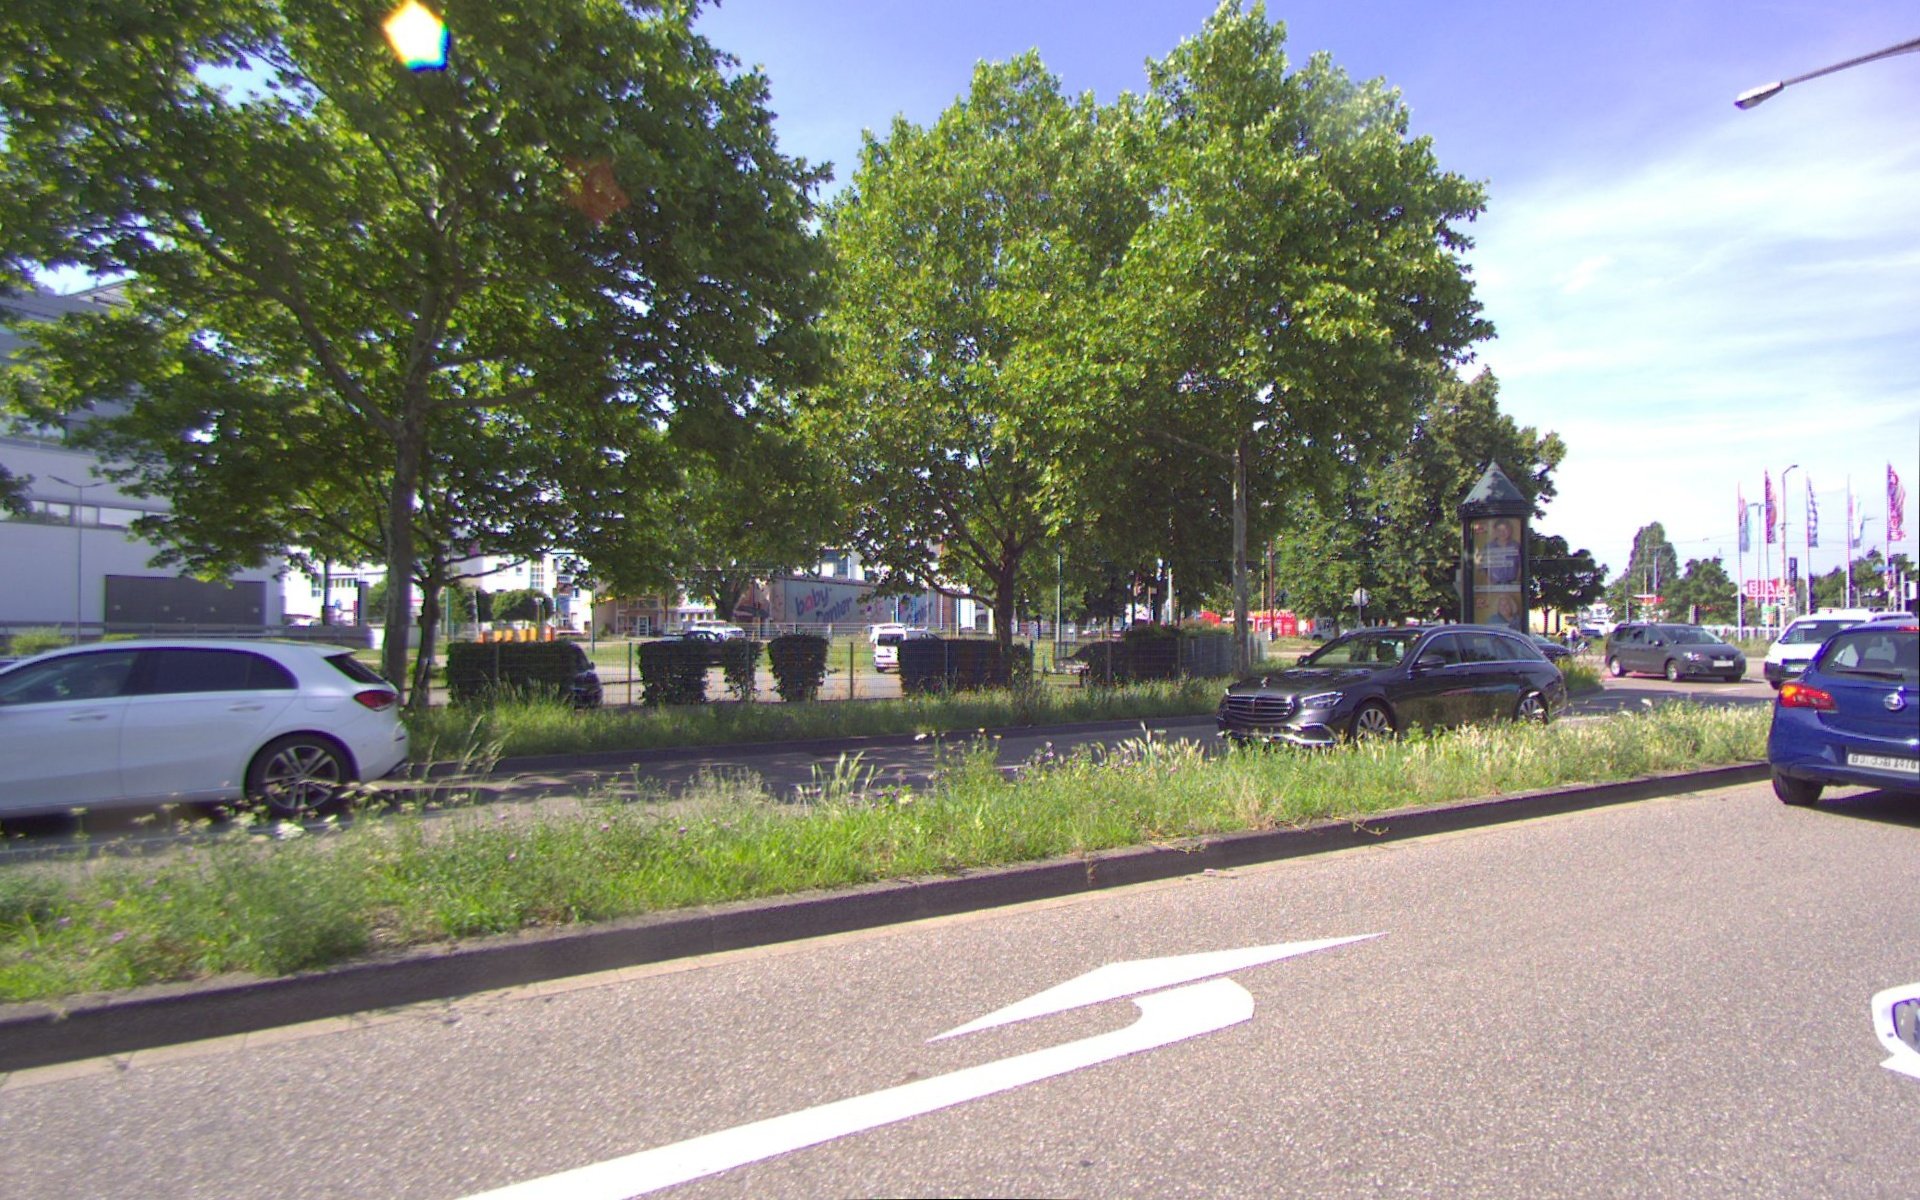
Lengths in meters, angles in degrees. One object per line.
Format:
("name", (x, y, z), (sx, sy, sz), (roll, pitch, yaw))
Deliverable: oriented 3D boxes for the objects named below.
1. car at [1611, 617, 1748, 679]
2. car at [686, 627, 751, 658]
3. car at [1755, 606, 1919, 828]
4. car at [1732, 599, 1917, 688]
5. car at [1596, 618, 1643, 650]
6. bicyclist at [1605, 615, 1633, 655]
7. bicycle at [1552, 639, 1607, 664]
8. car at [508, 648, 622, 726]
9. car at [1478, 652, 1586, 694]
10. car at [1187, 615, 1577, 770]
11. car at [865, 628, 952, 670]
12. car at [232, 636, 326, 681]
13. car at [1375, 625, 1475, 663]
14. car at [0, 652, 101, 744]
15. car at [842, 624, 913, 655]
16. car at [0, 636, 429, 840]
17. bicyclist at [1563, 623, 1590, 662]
("car", (21.921, 1.446, 30.837), (1.831, 1.773, 4.403), (0, -2, 13))
("car", (-16.207, 2.849, 67.388), (3.924, 1.929, 1.845), (-1, 0, 25))
("car", (8.208, 0.832, 8.016), (4.002, 1.503, 1.618), (1, 0, -31))
("car", (21.880, 1.068, 25.373), (5.152, 2.040, 1.984), (1, -2, -31))
("car", (54.795, 2.807, 83.510), (1.960, 2.566, 4.642), (-1, -2, 16))
("bicyclist", (29.199, 1.560, 44.502), (0.883, 1.738, 0.782), (-1, 0, 24))
("bicycle", (27.355, 2.264, 44.412), (1.972, 1.053, 0.744), (-1, 0, 24))
("car", (-8.841, 1.854, 22.316), (1.788, 1.514, 3.968), (1, -2, -30))
("car", (22.043, 2.782, 38.897), (1.731, 1.407, 3.999), (-1, -1, -3))
("car", (5.152, 0.997, 12.118), (4.627, 1.551, 1.984), (1, -2, -31))
("car", (-2.143, 2.086, 43.211), (1.961, 1.687, 4.845), (-1, -2, 21))
("car", (-27.172, 2.281, 40.223), (1.774, 1.524, 3.989), (-2, 0, -14))
("car", (20.583, 1.937, 44.660), (1.695, 1.624, 4.148), (1, -2, -18))
("car", (-17.423, 1.750, 18.654), (1.787, 1.432, 3.961), (3, -2, -35))
("car", (-5.094, 2.434, 62.120), (3.924, 1.795, 1.845), (-1, 0, 25))
("car", (-6.738, 1.016, 8.050), (4.308, 1.416, 1.779), (2, -3, -31))
("bicyclist", (27.274, 1.877, 44.446), (0.883, 1.668, 0.787), (-1, 0, 24))
